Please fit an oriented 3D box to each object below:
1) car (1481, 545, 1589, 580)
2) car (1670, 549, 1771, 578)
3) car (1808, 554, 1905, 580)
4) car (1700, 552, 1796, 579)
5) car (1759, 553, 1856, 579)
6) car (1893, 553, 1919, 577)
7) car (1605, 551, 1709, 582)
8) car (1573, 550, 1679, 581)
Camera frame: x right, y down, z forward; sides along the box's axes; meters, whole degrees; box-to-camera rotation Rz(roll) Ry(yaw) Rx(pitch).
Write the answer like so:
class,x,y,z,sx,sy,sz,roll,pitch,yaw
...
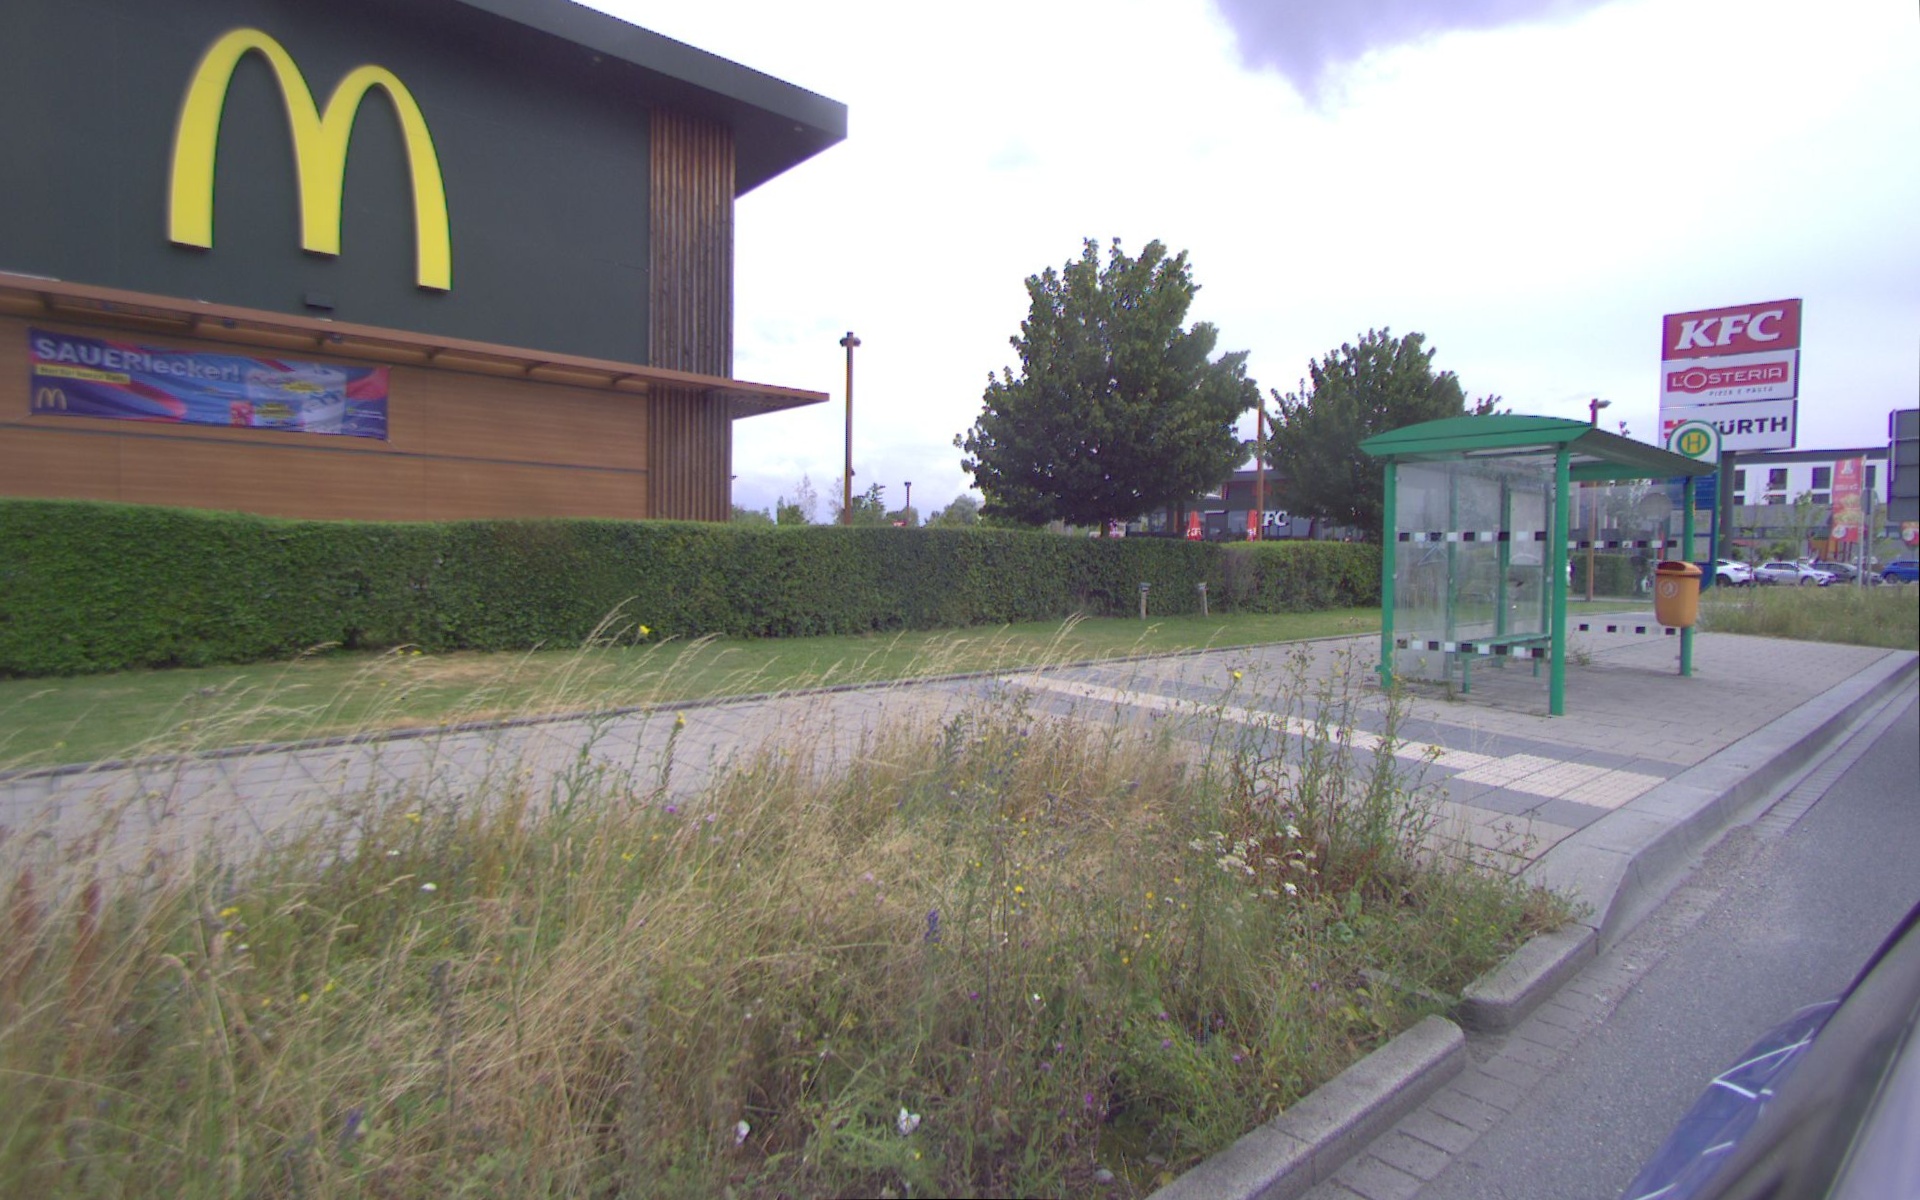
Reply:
class,x,y,z,sx,sy,sz,roll,pitch,yaw
car,26.590,-1.771,46.895,1.815,1.546,3.995,-2,3,-40
car,41.465,-1.997,55.269,1.811,1.541,4.003,-1,3,-33
car,54.552,-2.026,61.638,1.810,1.504,4.006,-1,3,-29
car,45.486,-1.995,58.514,1.812,1.504,4.003,-1,3,-33
car,50.096,-2.035,59.924,1.810,1.504,4.006,-1,3,-29
car,63.304,-2.272,65.414,1.809,1.504,4.007,-2,2,-24
car,35.601,-1.748,51.769,1.811,1.504,4.003,-1,3,-33
car,33.206,-1.754,50.565,1.811,1.504,4.003,-1,3,-33
